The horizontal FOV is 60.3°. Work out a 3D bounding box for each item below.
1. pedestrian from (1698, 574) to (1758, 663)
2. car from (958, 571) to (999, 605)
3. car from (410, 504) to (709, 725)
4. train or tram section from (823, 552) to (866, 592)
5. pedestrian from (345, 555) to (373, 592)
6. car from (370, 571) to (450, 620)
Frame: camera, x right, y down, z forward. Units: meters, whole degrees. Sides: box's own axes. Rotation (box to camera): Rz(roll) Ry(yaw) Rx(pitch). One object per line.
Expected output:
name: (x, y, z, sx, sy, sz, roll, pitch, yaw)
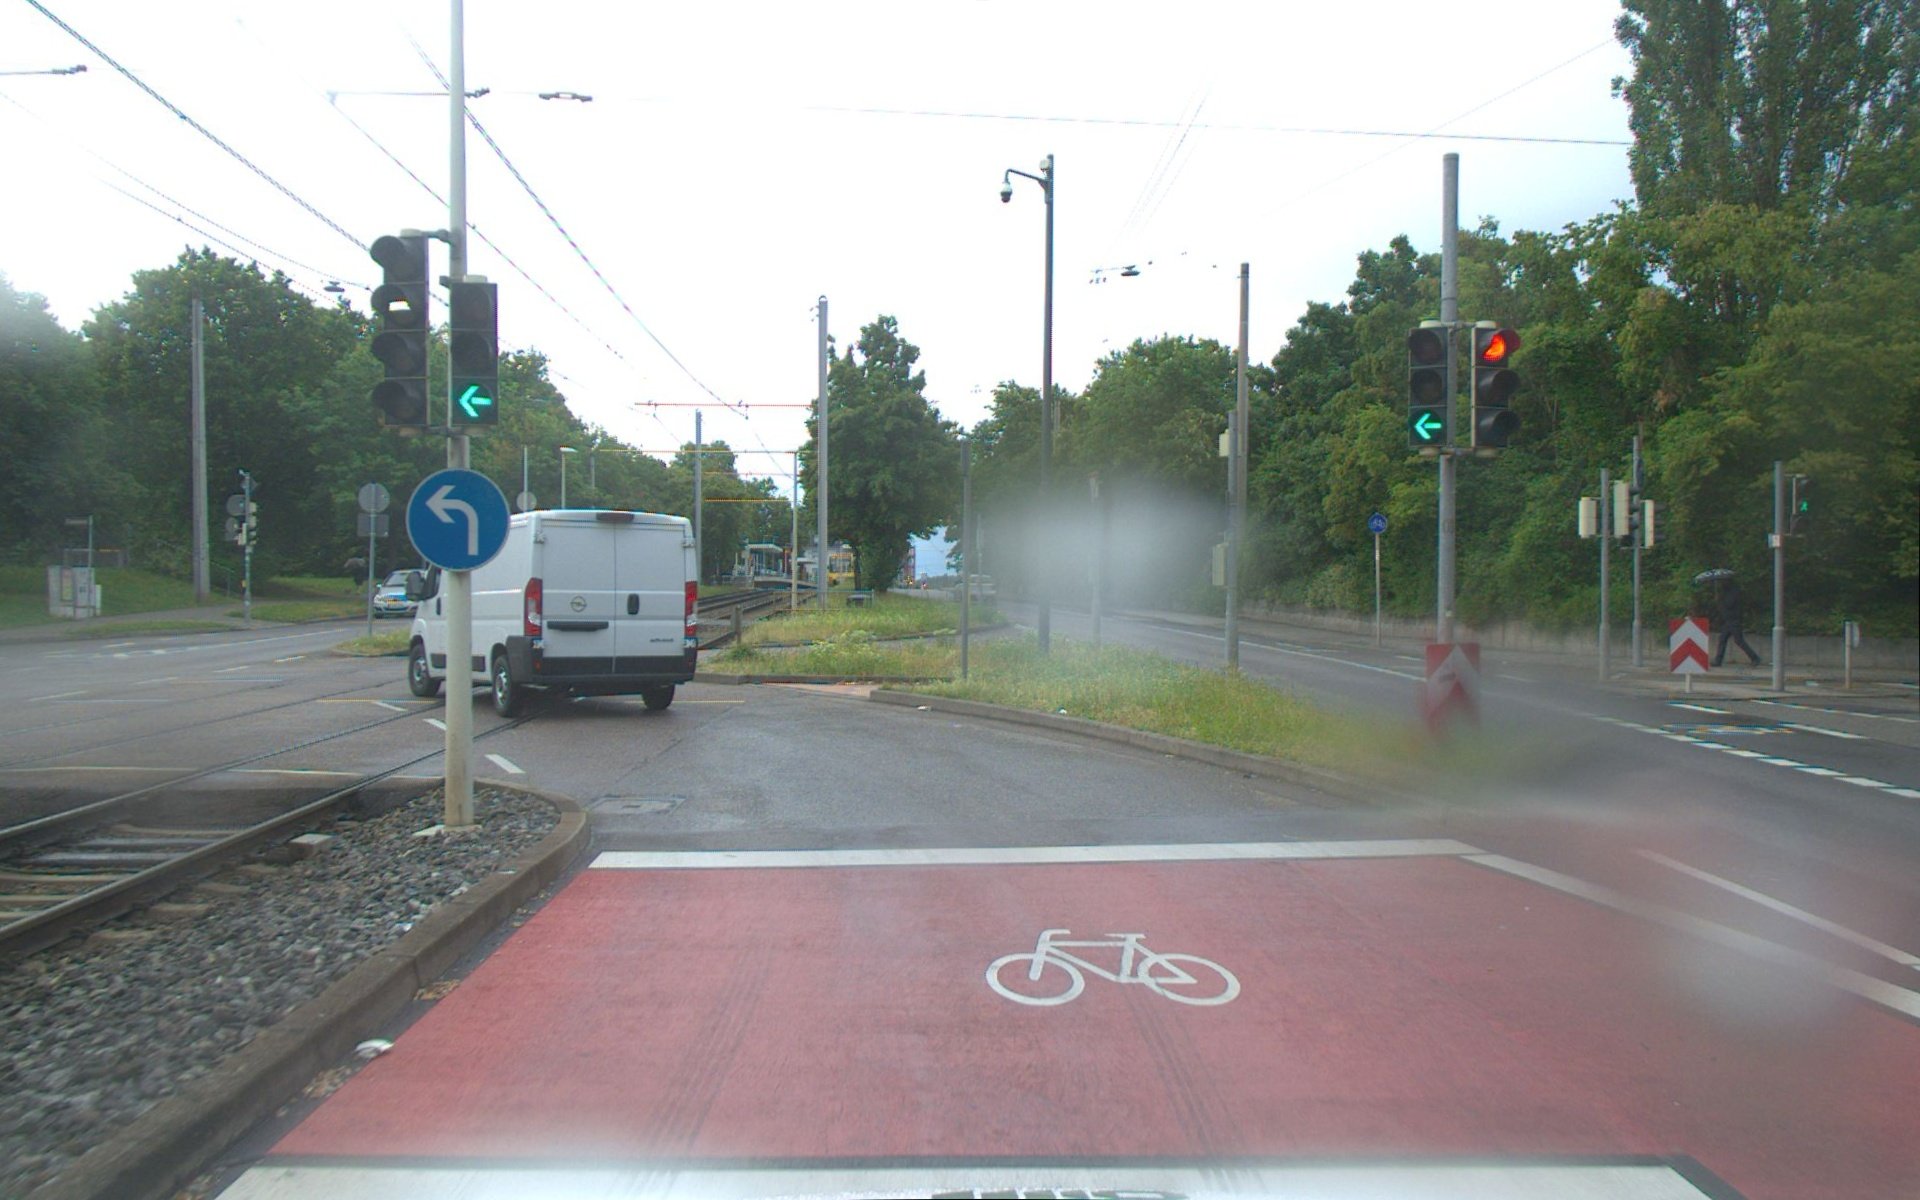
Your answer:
pedestrian: (14.404, 0.359, 31.038, 0.791, 1.635, 0.683, 2, -2, -1)
car: (0.861, -0.588, 79.184, 1.669, 1.548, 3.789, 2, 1, -3)
car: (-5.007, 0.068, 20.094, 2.125, 2.323, 5.009, -1, 2, -31)
train or tram section: (-12.318, -3.017, 177.686, 3.979, 3.962, 15.035, 2, 1, -2)
pedestrian: (-26.587, -1.173, 73.175, 0.994, 1.628, 1.038, 0, 0, -9)
car: (-19.189, -0.178, 57.838, 1.685, 1.581, 3.860, -2, 1, -4)
